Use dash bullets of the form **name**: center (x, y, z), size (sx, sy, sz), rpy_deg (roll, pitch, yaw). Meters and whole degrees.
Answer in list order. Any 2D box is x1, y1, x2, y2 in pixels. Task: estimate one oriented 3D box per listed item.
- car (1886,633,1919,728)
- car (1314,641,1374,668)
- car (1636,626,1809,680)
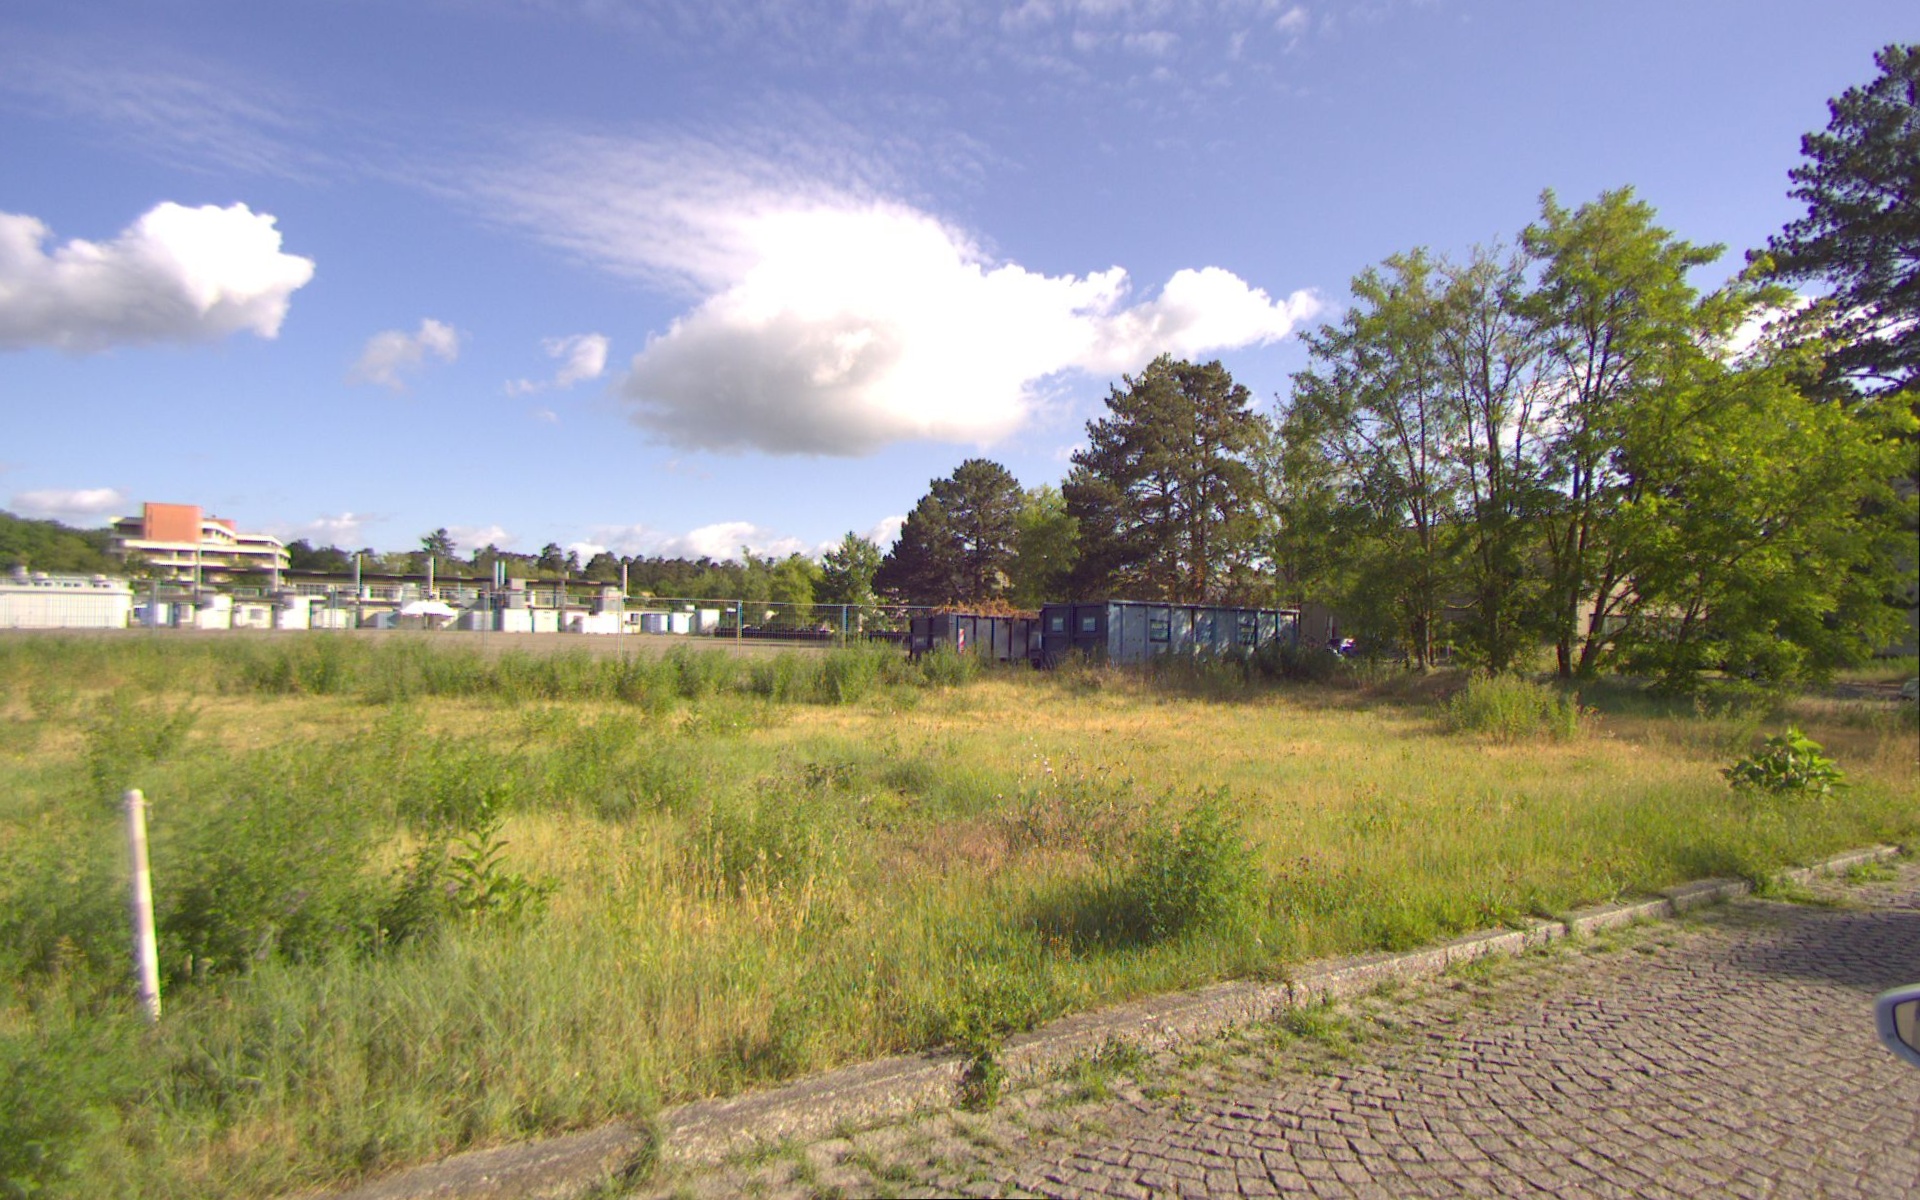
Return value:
- **car**: center (17.342, 1.405, 15.847), size (1.680, 1.548, 3.665), rpy_deg (2, 1, -32)
- **car**: center (27.409, 3.901, 71.621), size (3.952, 1.802, 1.858), rpy_deg (2, -2, -28)
- **car**: center (25.062, 1.716, 33.157), size (1.985, 1.630, 4.127), rpy_deg (2, -2, -28)
